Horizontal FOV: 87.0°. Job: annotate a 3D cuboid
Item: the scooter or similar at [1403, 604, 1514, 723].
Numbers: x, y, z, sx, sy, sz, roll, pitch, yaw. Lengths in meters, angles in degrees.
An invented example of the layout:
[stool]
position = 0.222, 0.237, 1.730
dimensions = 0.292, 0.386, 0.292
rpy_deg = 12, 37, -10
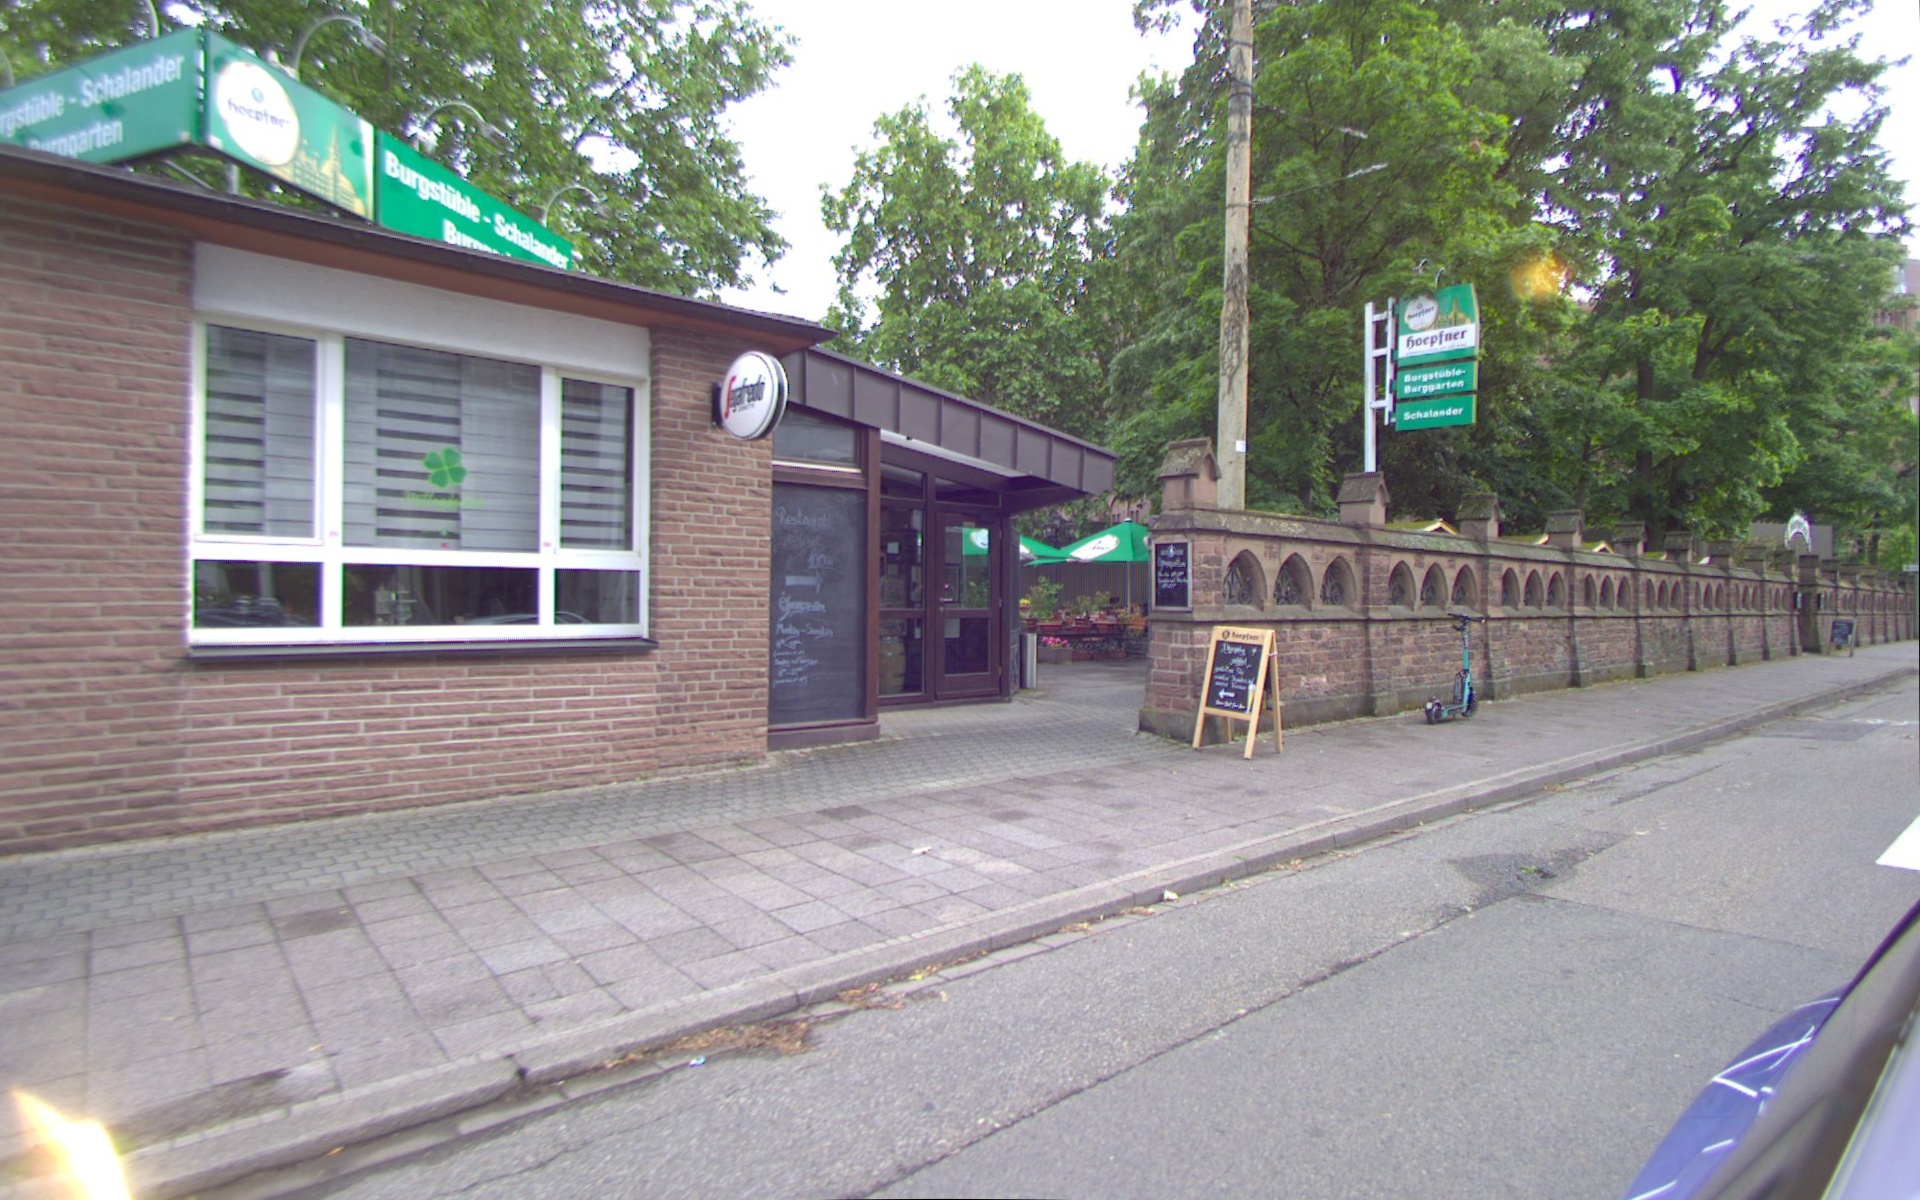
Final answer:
[scooter or similar]
position = 5.769, 0.693, 11.684
dimensions = 1.385, 1.254, 0.578
rpy_deg = 0, 3, -40
